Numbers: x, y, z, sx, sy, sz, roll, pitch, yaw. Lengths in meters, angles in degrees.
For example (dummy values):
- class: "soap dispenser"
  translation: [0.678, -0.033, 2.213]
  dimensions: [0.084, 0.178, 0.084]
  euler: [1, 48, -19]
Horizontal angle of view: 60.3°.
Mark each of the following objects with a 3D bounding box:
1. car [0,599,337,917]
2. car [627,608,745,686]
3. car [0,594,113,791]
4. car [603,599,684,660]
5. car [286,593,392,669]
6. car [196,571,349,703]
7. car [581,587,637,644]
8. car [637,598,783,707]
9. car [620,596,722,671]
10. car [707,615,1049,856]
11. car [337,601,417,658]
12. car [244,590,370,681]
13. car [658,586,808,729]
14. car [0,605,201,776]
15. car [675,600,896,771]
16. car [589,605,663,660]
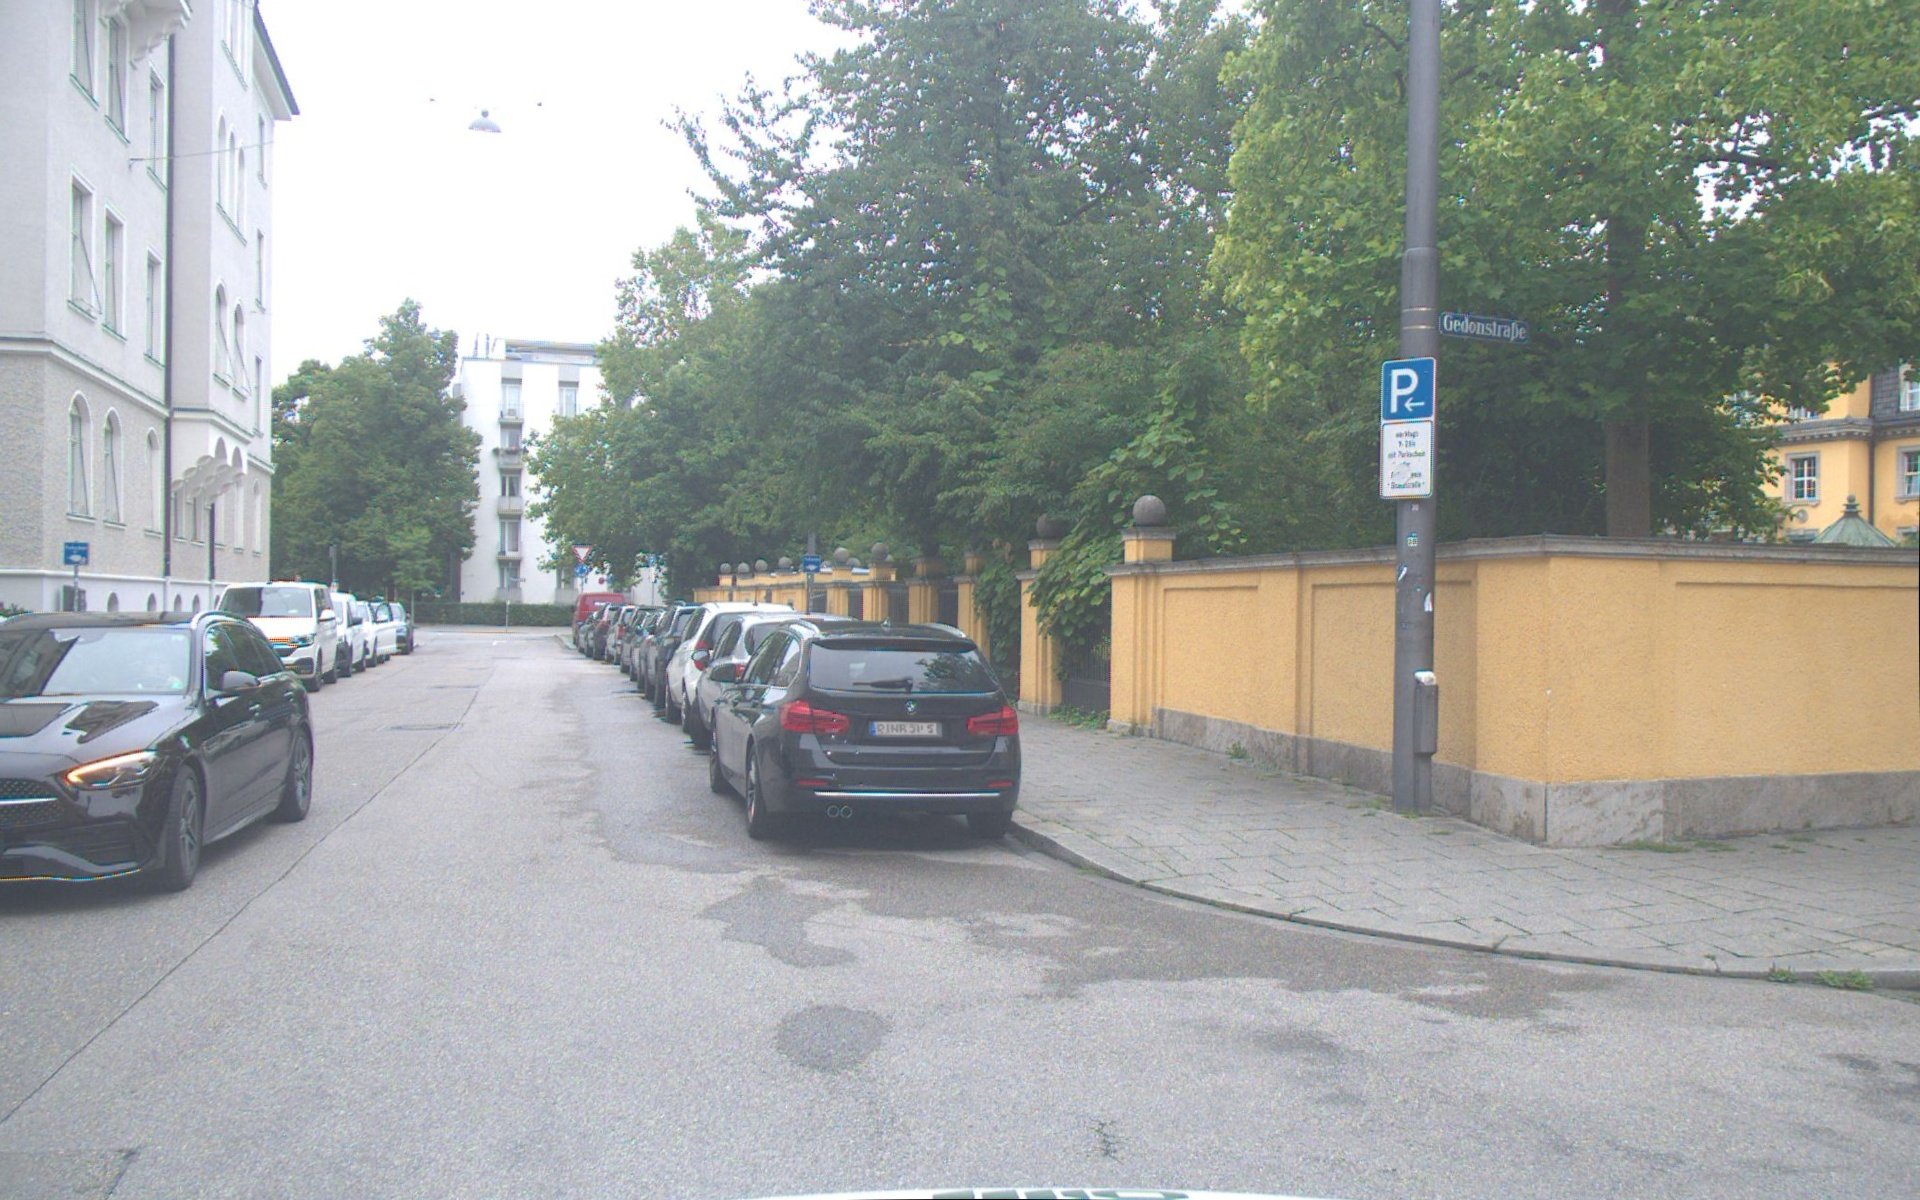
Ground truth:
- class: "car"
  translation: [-5.100, 0.742, 9.829]
  dimensions: [1.840, 1.453, 4.398]
  euler: [0, 0, -10]
- class: "car"
  translation: [-5.387, 0.883, 32.153]
  dimensions: [1.808, 1.369, 3.930]
  euler: [2, -1, -16]
- class: "car"
  translation: [-8.179, 0.718, 12.765]
  dimensions: [1.804, 1.463, 4.262]
  euler: [-2, 1, -12]
- class: "car"
  translation: [-8.744, 0.793, 45.463]
  dimensions: [1.808, 1.545, 3.930]
  euler: [2, -1, -16]
- class: "car"
  translation: [-15.752, 0.748, 42.151]
  dimensions: [1.981, 1.756, 4.258]
  euler: [-2, 1, -14]
- class: "car"
  translation: [-12.591, 0.615, 30.570]
  dimensions: [1.855, 2.165, 4.688]
  euler: [-2, 1, -14]
- class: "car"
  translation: [-12.906, 0.550, 60.966]
  dimensions: [1.803, 1.960, 3.995]
  euler: [3, 0, -10]
- class: "car"
  translation: [-4.114, 0.814, 26.751]
  dimensions: [1.808, 1.578, 3.930]
  euler: [2, -1, -16]
- class: "car"
  translation: [-6.504, 0.733, 36.931]
  dimensions: [1.808, 1.545, 3.930]
  euler: [2, -1, -16]
- class: "car"
  translation: [-0.803, 0.865, 12.214]
  dimensions: [1.806, 1.438, 4.328]
  euler: [2, -1, -12]
- class: "car"
  translation: [-18.793, 0.908, 53.439]
  dimensions: [1.981, 1.662, 4.397]
  euler: [-2, 1, -14]
- class: "car"
  translation: [-14.339, 0.725, 36.541]
  dimensions: [1.981, 1.802, 4.397]
  euler: [-2, 1, -14]
- class: "car"
  translation: [-3.049, 0.719, 21.687]
  dimensions: [1.488, 1.690, 3.659]
  euler: [2, -1, -15]
- class: "car"
  translation: [-9.441, 0.863, 17.400]
  dimensions: [1.805, 1.526, 4.259]
  euler: [-2, 1, -14]
- class: "car"
  translation: [-1.911, 0.817, 17.110]
  dimensions: [1.626, 1.545, 3.778]
  euler: [2, -1, -16]
- class: "car"
  translation: [-10.019, 0.953, 49.441]
  dimensions: [1.808, 1.545, 3.930]
  euler: [2, -1, -16]
